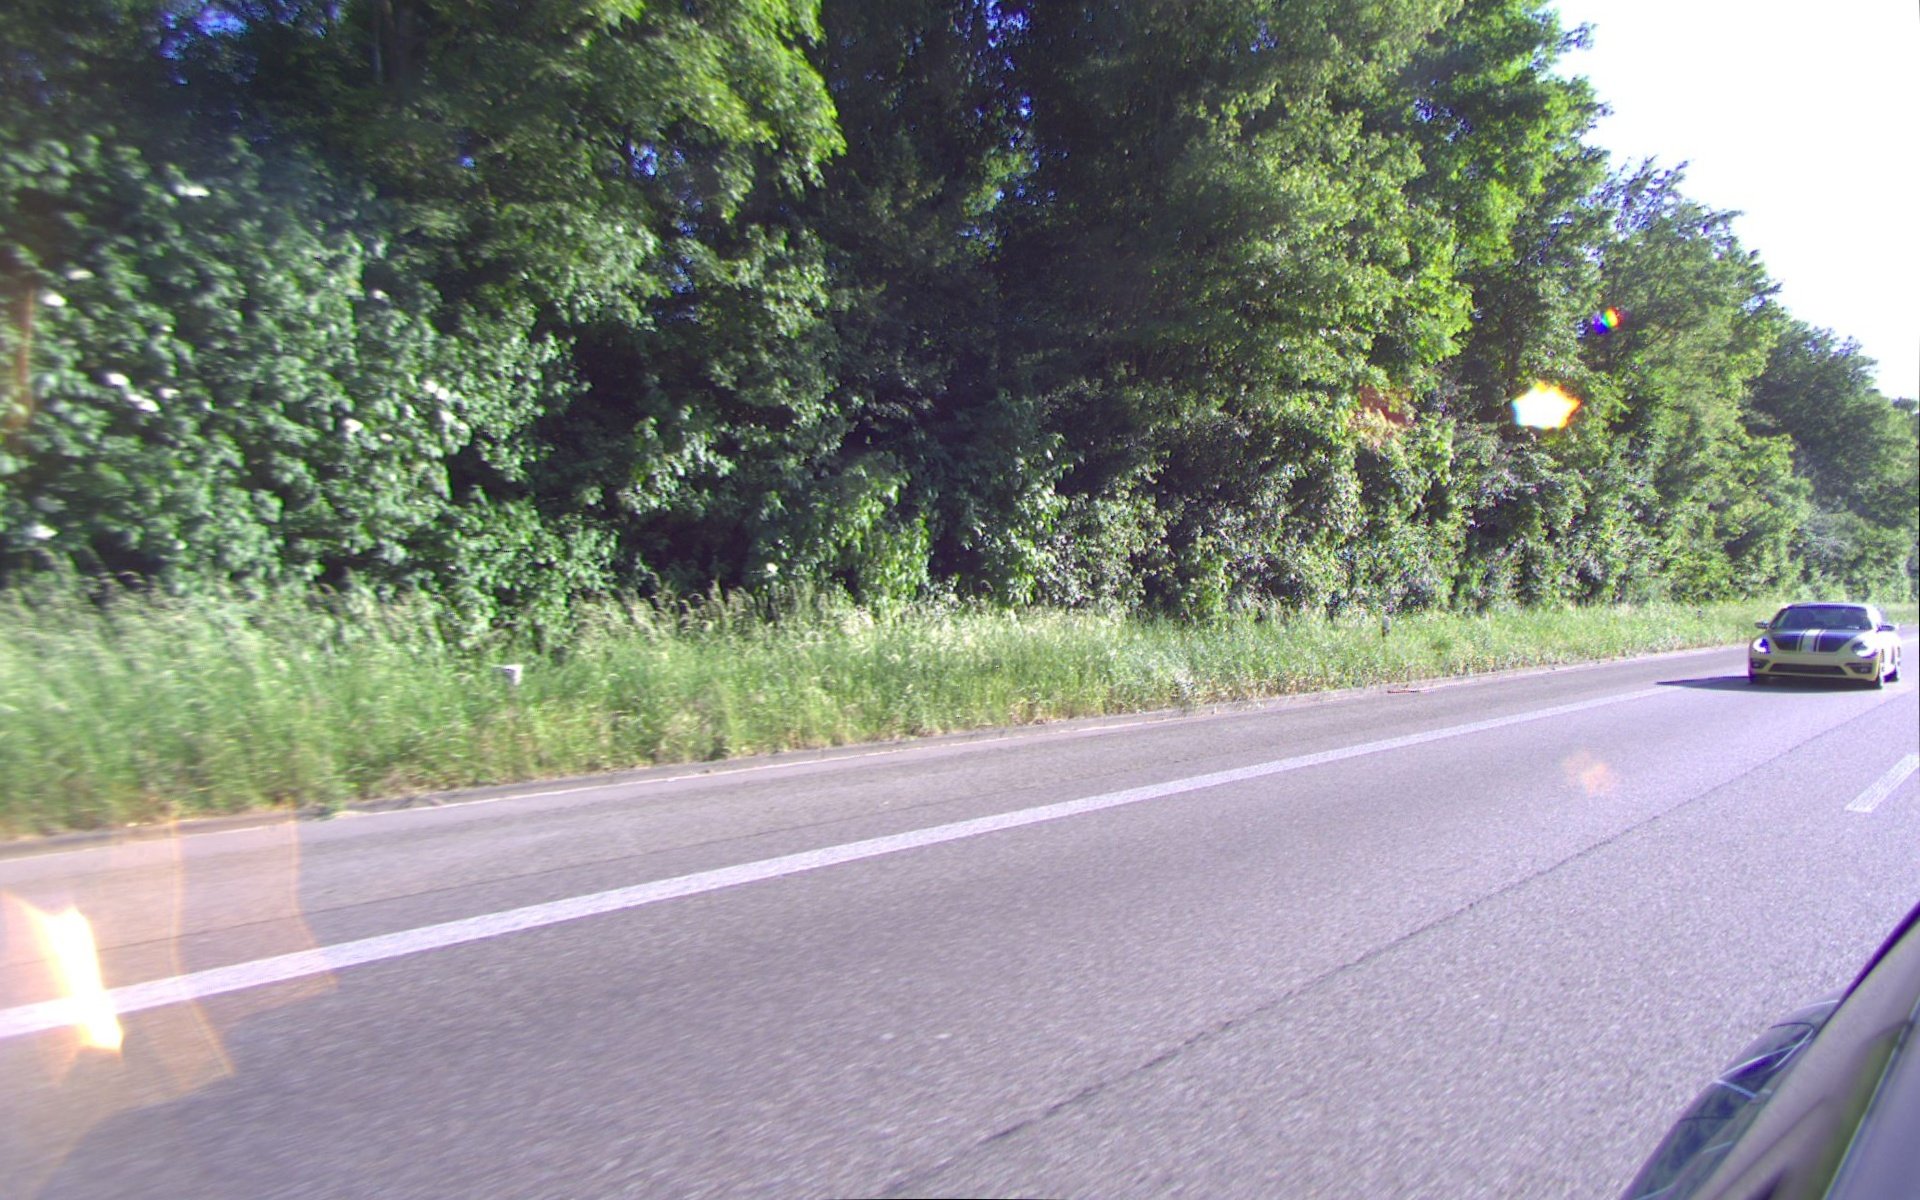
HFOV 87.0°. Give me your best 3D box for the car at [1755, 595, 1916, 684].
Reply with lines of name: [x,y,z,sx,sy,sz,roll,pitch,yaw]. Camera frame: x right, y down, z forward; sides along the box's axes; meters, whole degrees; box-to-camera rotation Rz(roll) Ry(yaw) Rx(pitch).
car: [16.082,0.639,18.533,3.811,1.467,1.792,0,0,-42]
